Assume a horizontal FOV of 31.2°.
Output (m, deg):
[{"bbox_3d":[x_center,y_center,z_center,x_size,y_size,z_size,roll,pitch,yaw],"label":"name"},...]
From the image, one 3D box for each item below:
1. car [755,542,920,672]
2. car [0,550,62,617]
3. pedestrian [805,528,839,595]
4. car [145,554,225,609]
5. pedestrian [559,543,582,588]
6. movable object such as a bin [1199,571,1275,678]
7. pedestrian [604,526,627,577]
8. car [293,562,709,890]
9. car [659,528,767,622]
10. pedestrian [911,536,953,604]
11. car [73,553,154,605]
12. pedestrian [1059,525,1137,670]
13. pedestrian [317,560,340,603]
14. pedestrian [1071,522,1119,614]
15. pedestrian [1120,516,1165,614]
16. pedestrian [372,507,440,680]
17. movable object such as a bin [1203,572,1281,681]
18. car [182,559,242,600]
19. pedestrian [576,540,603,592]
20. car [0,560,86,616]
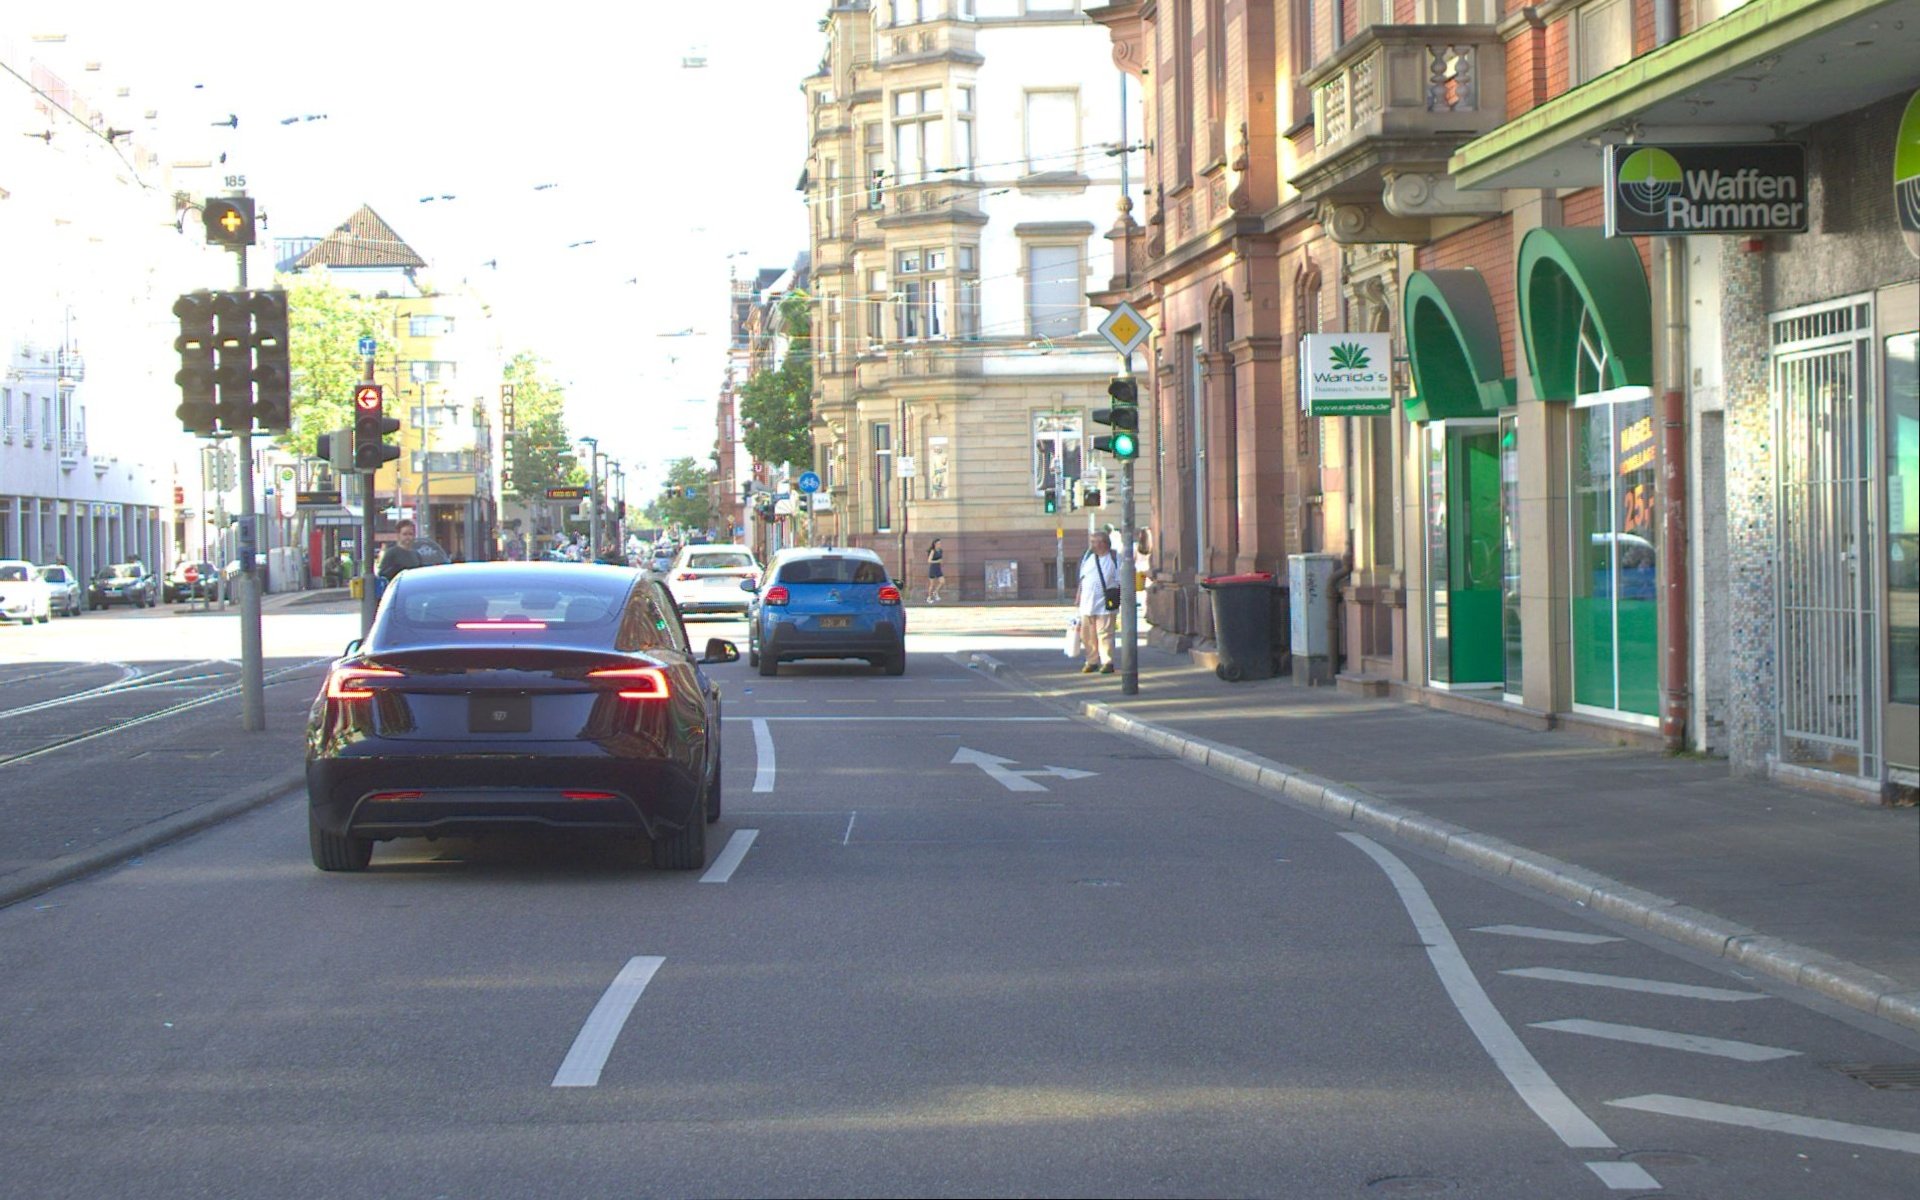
[{"bbox_3d":[-1.490,0.048,40.652,1.781,1.446,3.655,1,1,-4],"label":"car"},{"bbox_3d":[-21.514,-0.382,77.118,1.993,1.446,4.503,-1,1,-6],"label":"car"},{"bbox_3d":[-3.640,-1.025,90.694,0.779,1.743,1.093,0,3,-7],"label":"pedestrian"},{"bbox_3d":[-27.764,-0.692,123.272,2.226,1.904,4.610,-1,1,-6],"label":"car"},{"bbox_3d":[-13.510,-1.201,119.328,0.586,1.556,0.469,0,1,31],"label":"pedestrian"},{"bbox_3d":[2.884,0.250,35.882,0.663,1.069,0.545,-4,1,-2],"label":"movable object such as a bin"},{"bbox_3d":[-11.517,-1.615,114.913,0.636,1.692,0.933,1,0,3],"label":"pedestrian"},{"bbox_3d":[-2.212,0.539,17.281,1.810,1.419,4.154,1,1,-5],"label":"car"},{"bbox_3d":[-4.781,-0.466,66.267,1.993,1.737,4.000,1,0,-4],"label":"car"},{"bbox_3d":[-0.690,-0.726,83.675,0.922,1.626,0.942,-1,0,4],"label":"pedestrian"},{"bbox_3d":[-27.001,-0.668,109.735,1.993,1.590,4.001,-1,0,-7],"label":"car"},{"bbox_3d":[1.554,-0.034,38.856,0.681,1.602,0.731,-1,1,-13],"label":"pedestrian"},{"bbox_3d":[-22.374,-0.659,121.791,0.731,1.522,0.743,0,2,-6],"label":"pedestrian"},{"bbox_3d":[2.449,-0.583,62.276,0.701,1.649,0.631,-1,0,17],"label":"pedestrian"},{"bbox_3d":[3.295,-0.630,62.061,0.644,1.739,0.705,1,0,17],"label":"pedestrian"},{"bbox_3d":[-5.785,-0.078,35.917,0.558,1.757,0.895,-3,1,-5],"label":"pedestrian"},{"bbox_3d":[2.892,0.268,35.295,0.663,1.069,0.591,-4,1,-2],"label":"movable object such as a bin"},{"bbox_3d":[-28.405,-0.791,130.672,1.728,1.509,4.405,-1,1,-6],"label":"car"},{"bbox_3d":[-12.919,-1.183,119.883,0.718,1.771,0.564,0,1,31],"label":"pedestrian"},{"bbox_3d":[-25.132,-0.340,93.533,1.993,1.446,4.651,-1,1,-6],"label":"car"}]
